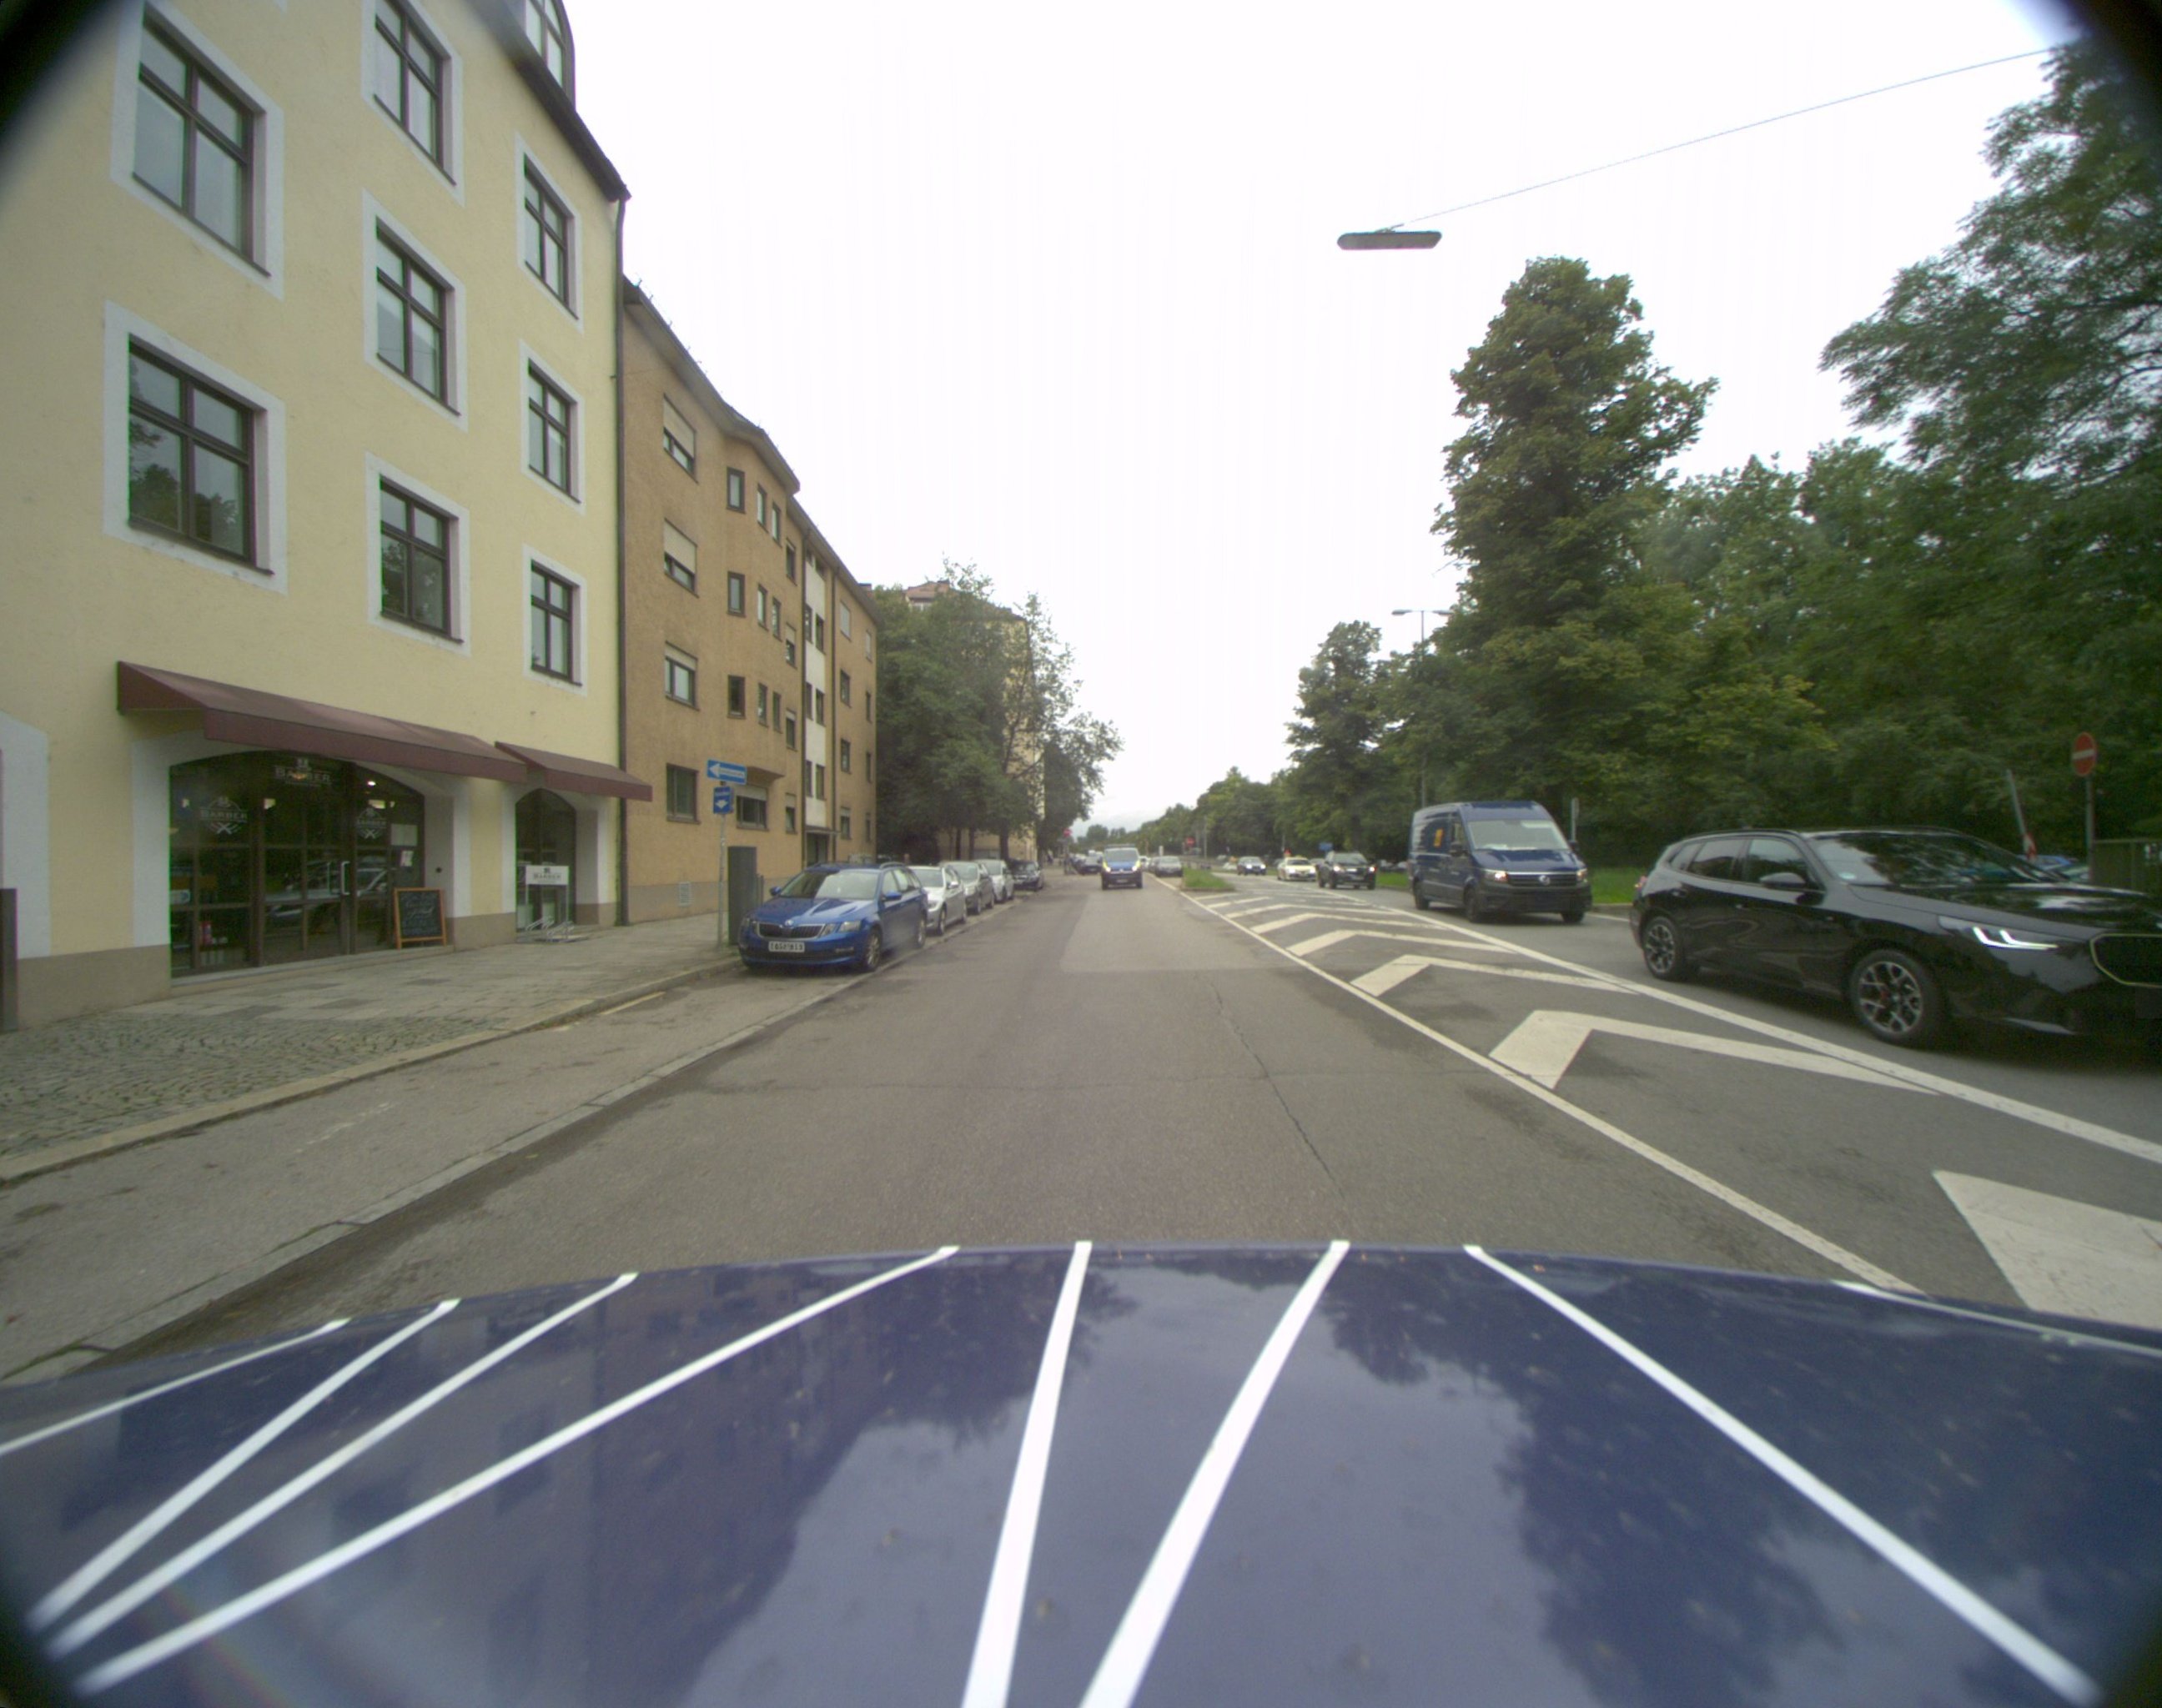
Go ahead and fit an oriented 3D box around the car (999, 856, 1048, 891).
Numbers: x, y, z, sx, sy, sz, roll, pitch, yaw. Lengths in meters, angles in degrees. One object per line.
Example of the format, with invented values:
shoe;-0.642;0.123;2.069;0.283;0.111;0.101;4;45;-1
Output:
car;-2.652;0.864;35.825;1.796;1.488;4.376;2;0;1

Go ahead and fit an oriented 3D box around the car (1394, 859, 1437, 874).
car;32.968;1.211;74.984;1.999;1.438;4.524;1;0;-3

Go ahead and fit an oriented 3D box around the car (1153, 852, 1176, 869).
car;7.763;0.555;70.882;1.991;1.556;4.284;0;0;4

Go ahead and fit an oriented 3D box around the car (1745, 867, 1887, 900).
car;36.042;1.391;37.481;2.000;1.438;4.764;1;0;-9

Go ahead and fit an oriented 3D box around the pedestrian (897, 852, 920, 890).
pedestrian;-7.419;0.712;32.684;0.672;1.614;0.980;0;1;3

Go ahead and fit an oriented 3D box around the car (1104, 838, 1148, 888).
car;2.078;0.372;36.117;1.856;2.198;4.552;0;1;1

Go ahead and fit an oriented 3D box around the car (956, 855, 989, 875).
car;-8.284;0.815;58.451;2.054;1.458;4.244;0;0;-2

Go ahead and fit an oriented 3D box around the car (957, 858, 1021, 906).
car;-3.168;0.929;26.688;1.632;1.487;3.821;1;0;2

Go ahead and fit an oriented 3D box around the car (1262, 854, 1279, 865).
car;31.593;0.950;126.871;1.885;1.736;4.000;-1;0;0

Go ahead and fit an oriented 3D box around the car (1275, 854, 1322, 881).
car;13.261;0.795;46.582;1.991;1.556;4.656;0;0;6

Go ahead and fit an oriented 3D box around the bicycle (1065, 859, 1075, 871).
bicycle;-0.925;0.970;65.458;0.632;1.031;1.736;0;0;6

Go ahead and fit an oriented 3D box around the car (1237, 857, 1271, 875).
car;15.213;1.017;67.080;1.992;1.556;4.272;0;0;-1

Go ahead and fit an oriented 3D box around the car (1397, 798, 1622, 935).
car;8.915;0.177;16.622;2.188;2.450;5.853;0;1;7

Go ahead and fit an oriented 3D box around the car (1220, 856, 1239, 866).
car;22.139;0.990;113.250;1.832;1.438;4.235;1;0;-1

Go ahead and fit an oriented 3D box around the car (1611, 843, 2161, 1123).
car;6.990;0.733;6.660;1.916;1.577;4.833;-2;0;9

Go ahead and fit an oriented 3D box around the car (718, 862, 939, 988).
car;-3.586;0.918;11.755;1.761;1.487;4.488;1;0;2

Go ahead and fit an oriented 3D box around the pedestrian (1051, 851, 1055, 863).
pedestrian;-4.588;0.531;125.067;0.458;2.002;0.617;0;0;-17

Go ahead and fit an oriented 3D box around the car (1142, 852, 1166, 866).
car;7.881;0.558;81.986;1.992;1.447;4.281;0;0;-2

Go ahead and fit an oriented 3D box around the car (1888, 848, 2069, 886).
car;37.048;0.498;31.569;2.000;1.438;4.419;1;0;-10

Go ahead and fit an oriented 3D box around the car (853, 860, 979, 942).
car;-3.472;0.921;16.827;1.694;1.487;4.434;1;0;2

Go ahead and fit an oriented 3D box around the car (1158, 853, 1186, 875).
car;6.569;0.683;55.140;1.902;1.556;4.773;0;0;6

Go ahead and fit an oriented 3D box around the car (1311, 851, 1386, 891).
car;11.486;0.684;32.931;1.992;1.618;4.274;0;0;3

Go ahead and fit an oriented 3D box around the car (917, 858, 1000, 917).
car;-3.408;0.893;21.846;1.632;1.487;3.787;1;0;2

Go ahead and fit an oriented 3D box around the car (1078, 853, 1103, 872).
car;0.906;0.742;67.494;2.129;1.556;4.507;-1;0;1

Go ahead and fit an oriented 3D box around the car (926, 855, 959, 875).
car;-10.520;0.836;57.873;1.917;1.458;4.244;0;0;-2

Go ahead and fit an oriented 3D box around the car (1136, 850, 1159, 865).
car;7.934;0.391;91.291;2.075;1.692;5.089;-1;0;-2

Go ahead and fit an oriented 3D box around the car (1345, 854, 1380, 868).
car;32.424;0.754;87.614;1.999;1.526;4.705;1;0;-3

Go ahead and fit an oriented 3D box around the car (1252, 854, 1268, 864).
car;31.439;0.852;133.563;1.866;1.736;4.000;-1;0;0

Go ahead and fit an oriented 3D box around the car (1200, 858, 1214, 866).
car;22.174;1.341;133.767;1.896;1.438;4.033;0;0;0
